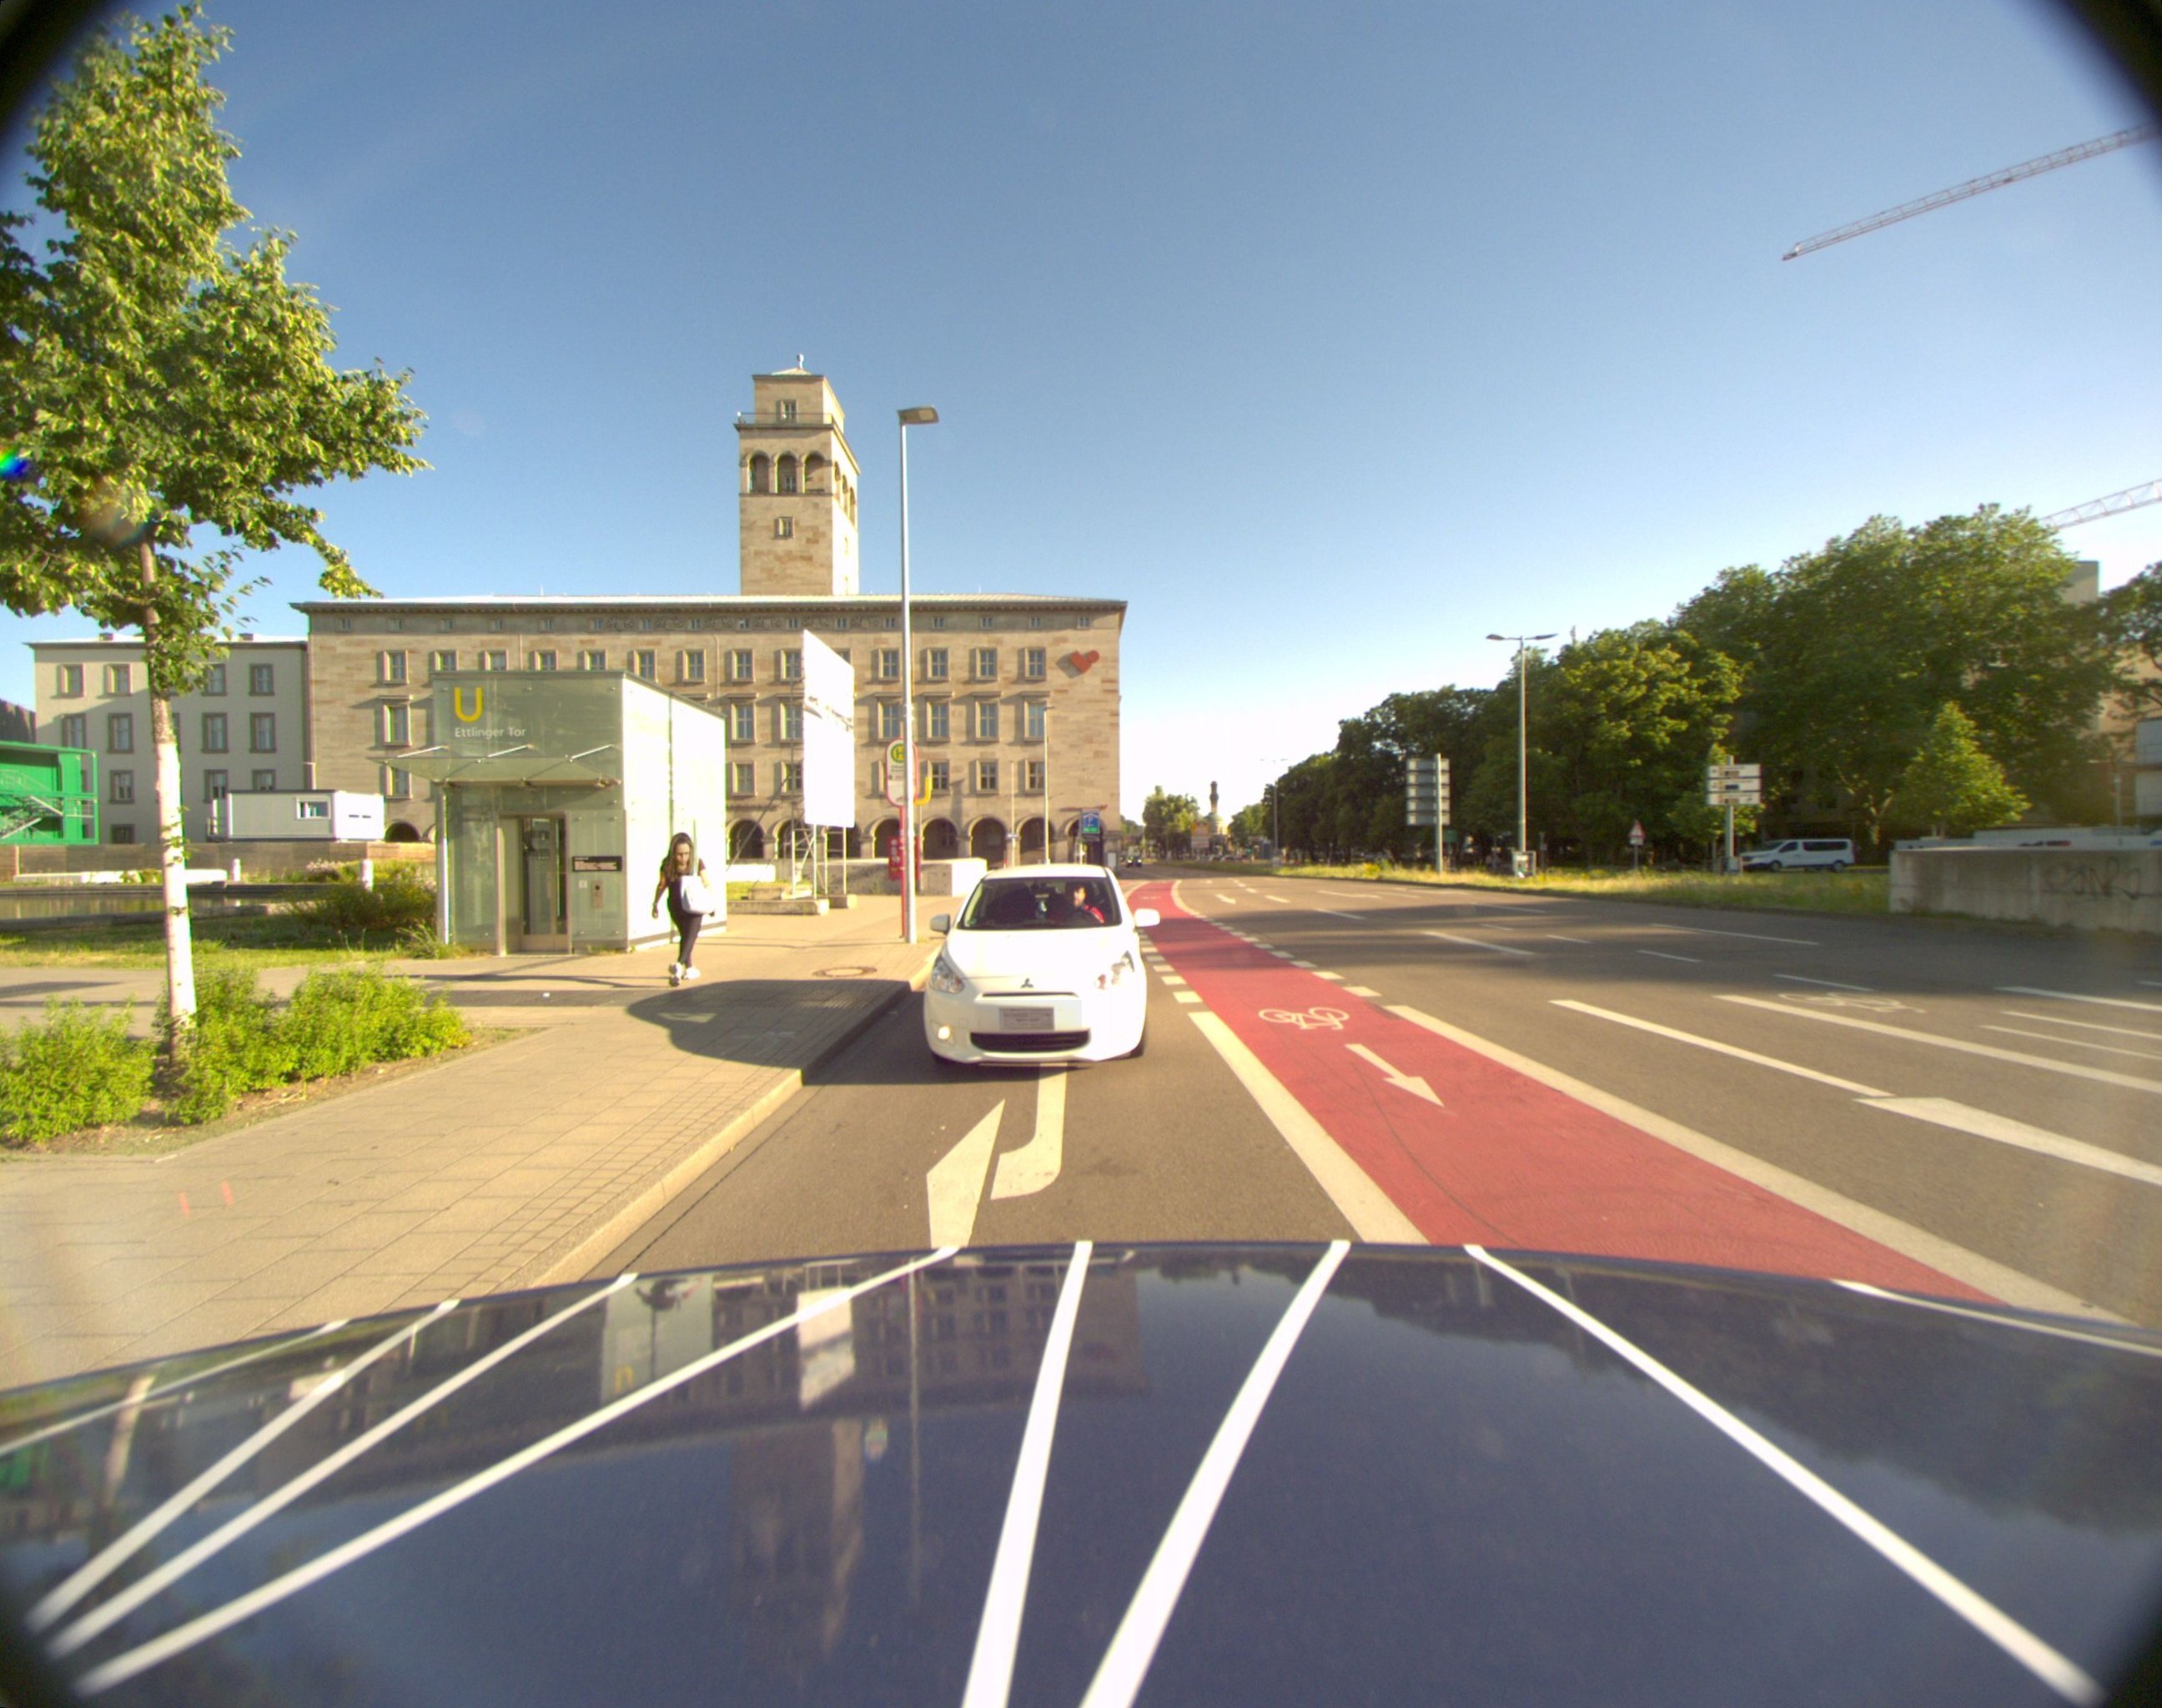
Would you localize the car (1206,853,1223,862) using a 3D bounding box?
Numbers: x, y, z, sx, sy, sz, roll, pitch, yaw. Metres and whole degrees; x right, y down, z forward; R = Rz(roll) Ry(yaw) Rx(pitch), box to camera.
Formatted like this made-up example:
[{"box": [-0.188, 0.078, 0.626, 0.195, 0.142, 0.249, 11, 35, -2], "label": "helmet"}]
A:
[{"box": [20.588, 0.544, 117.233, 1.872, 1.390, 3.999, -1, 0, -1], "label": "car"}]

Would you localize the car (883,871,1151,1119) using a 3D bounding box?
[{"box": [-0.381, 0.960, 6.857, 1.678, 1.440, 3.889, -2, 0, 1], "label": "car"}]

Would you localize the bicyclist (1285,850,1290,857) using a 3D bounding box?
[{"box": [34.540, -0.076, 127.151, 0.610, 1.274, 0.715, -1, 1, -1], "label": "bicyclist"}]

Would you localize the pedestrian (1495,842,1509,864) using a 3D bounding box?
[{"box": [33.555, -0.057, 60.531, 0.707, 1.715, 0.762, -1, 1, 1], "label": "pedestrian"}]

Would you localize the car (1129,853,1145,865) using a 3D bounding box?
[{"box": [7.777, 0.669, 106.457, 1.937, 1.634, 4.616, -1, 0, 0], "label": "car"}]

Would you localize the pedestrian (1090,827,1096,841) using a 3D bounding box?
[{"box": [1.574, -2.626, 100.150, 0.704, 1.843, 0.828, -1, 1, 0], "label": "pedestrian"}]

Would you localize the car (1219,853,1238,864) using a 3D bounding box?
[{"box": [21.010, 0.627, 108.517, 1.872, 1.390, 3.999, -1, 0, -1], "label": "car"}]

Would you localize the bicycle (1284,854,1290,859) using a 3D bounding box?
[{"box": [34.543, 0.379, 127.160, 0.609, 0.838, 1.749, 0, 0, 27], "label": "bicycle"}]

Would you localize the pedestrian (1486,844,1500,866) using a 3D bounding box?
[{"box": [32.823, 0.053, 60.542, 0.665, 1.715, 0.762, -1, 1, 1], "label": "pedestrian"}]

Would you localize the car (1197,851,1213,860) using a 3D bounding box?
[{"box": [20.992, 0.249, 128.907, 1.873, 1.390, 3.999, -1, 0, -2], "label": "car"}]

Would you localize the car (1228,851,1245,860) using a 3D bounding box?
[{"box": [25.513, 0.234, 124.869, 1.998, 1.499, 4.000, -1, 0, 2], "label": "car"}]

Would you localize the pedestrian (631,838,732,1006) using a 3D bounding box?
[{"box": [-4.544, 0.719, 8.715, 0.944, 1.776, 1.070, -1, 1, -25], "label": "pedestrian"}]

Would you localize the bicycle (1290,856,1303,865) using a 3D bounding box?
[{"box": [24.324, 0.754, 85.902, 0.639, 1.016, 2.242, -1, 0, -4], "label": "bicycle"}]

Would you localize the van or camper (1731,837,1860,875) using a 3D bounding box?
[{"box": [42.303, 0.087, 45.078, 5.649, 2.002, 1.948, -2, 1, 2], "label": "van or camper"}]

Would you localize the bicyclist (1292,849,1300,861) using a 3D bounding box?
[{"box": [24.334, 0.128, 85.917, 0.639, 1.275, 0.885, -1, 1, -4], "label": "bicyclist"}]

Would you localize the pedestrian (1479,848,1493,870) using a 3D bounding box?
[{"box": [32.220, 0.396, 60.430, 0.707, 1.715, 0.762, -1, 1, 1], "label": "pedestrian"}]
